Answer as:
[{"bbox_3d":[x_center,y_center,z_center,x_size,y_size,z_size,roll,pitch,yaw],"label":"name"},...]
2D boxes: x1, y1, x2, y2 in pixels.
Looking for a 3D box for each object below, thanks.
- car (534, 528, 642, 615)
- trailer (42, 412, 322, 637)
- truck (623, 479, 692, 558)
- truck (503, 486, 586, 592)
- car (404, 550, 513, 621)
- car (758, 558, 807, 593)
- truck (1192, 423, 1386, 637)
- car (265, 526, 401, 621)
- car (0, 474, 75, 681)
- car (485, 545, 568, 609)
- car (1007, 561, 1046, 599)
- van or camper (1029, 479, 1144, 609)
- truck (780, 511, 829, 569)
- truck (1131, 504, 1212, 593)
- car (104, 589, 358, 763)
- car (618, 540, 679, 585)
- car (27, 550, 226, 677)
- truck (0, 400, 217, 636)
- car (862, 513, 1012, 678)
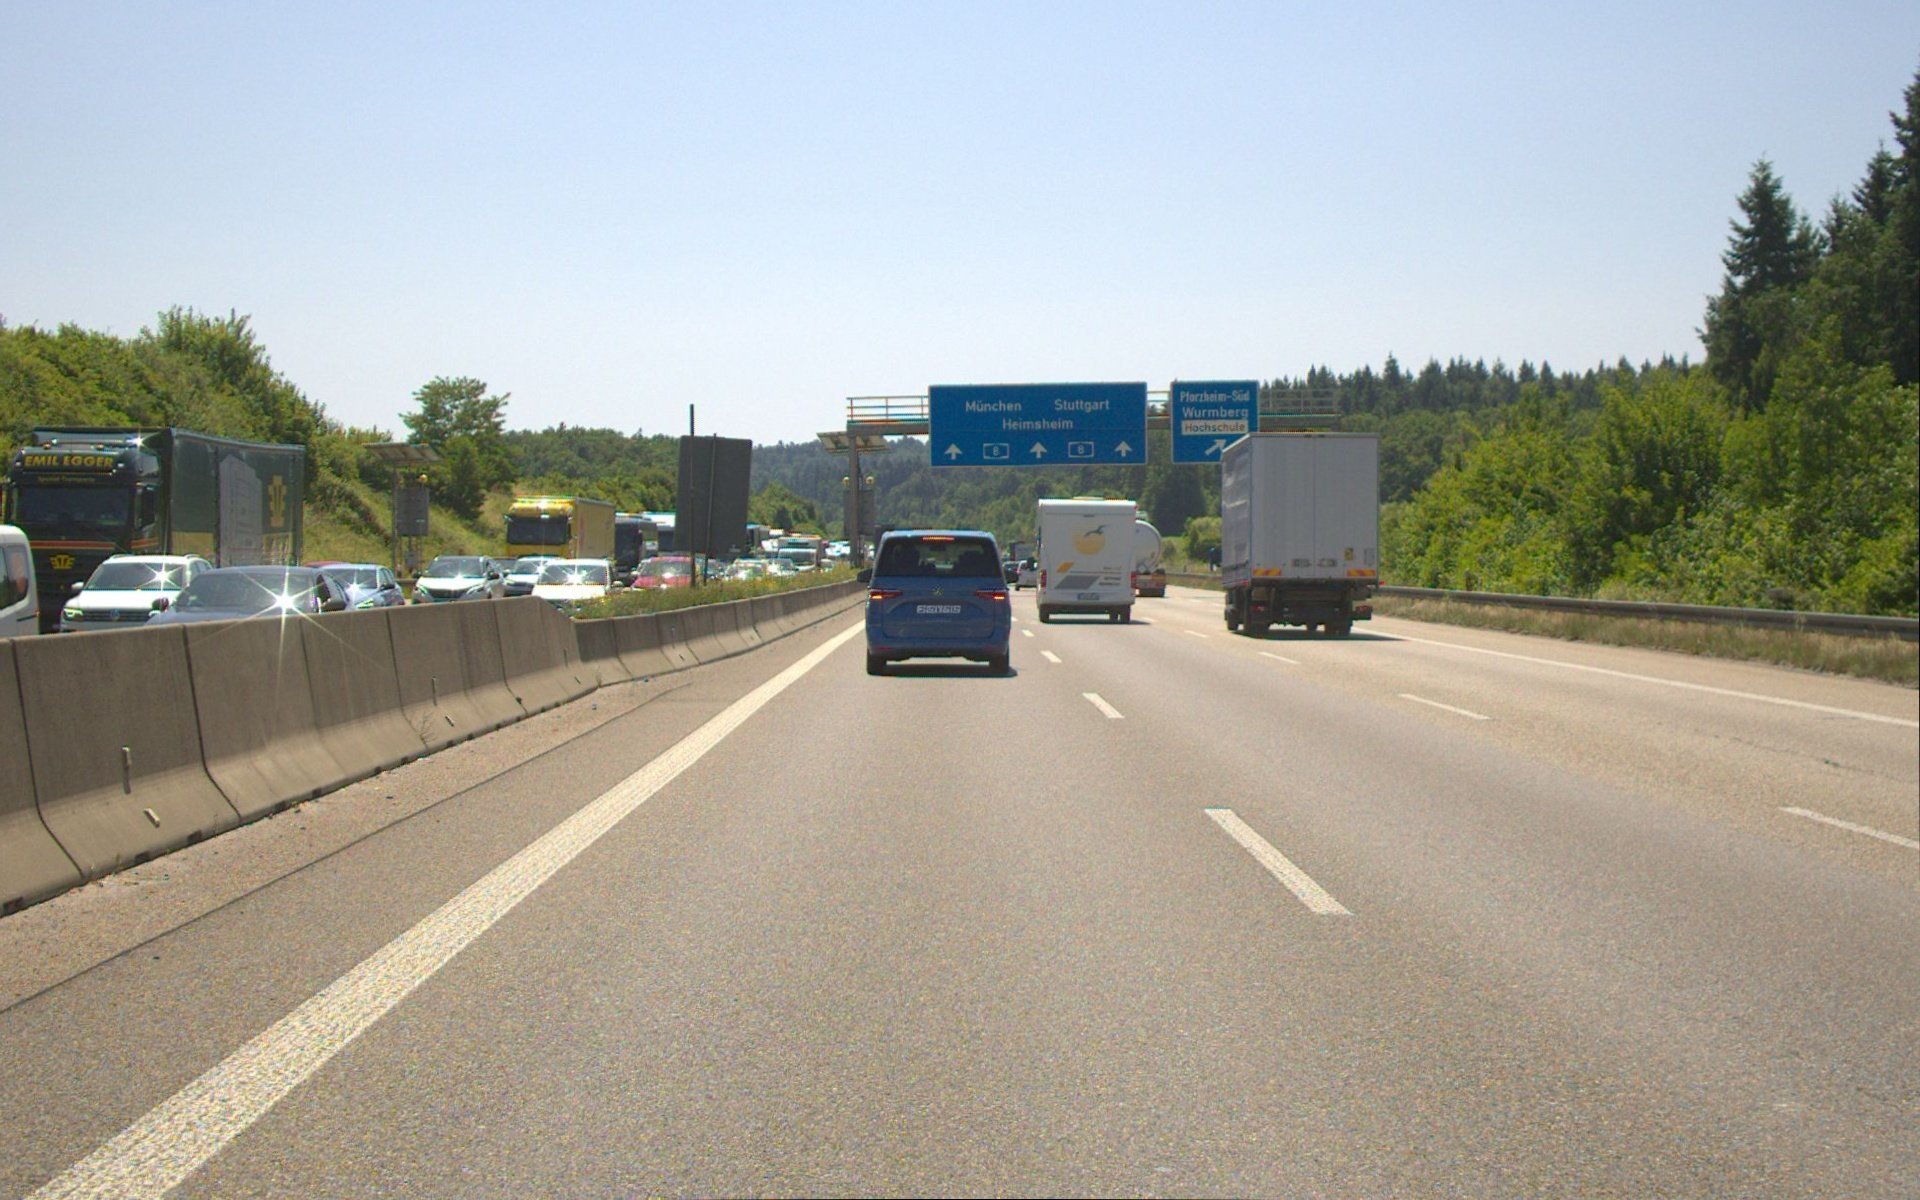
[{"bbox_3d":[-7.841,-0.598,72.777,1.827,1.758,4.991,1,0,-1],"label":"car"},{"bbox_3d":[-15.980,-1.464,71.794,2.842,4.247,12.786,1,0,0],"label":"trailer"},{"bbox_3d":[-16.262,-4.341,185.351,2.782,4.100,7.029,0,0,3],"label":"truck"},{"bbox_3d":[-16.314,-2.354,135.429,2.602,4.050,6.133,1,0,-1],"label":"truck"},{"bbox_3d":[-12.122,-0.346,83.314,1.811,1.623,5.219,1,0,1],"label":"car"},{"bbox_3d":[-7.721,-1.060,149.774,1.811,1.508,5.030,1,0,1],"label":"car"},{"bbox_3d":[6.712,-1.379,71.655,2.783,4.114,9.740,1,0,-2],"label":"truck"},{"bbox_3d":[-12.202,-0.517,67.144,1.827,1.758,4.991,1,0,-1],"label":"car"},{"bbox_3d":[-8.165,-0.183,25.788,1.827,1.559,5.111,1,0,-1],"label":"car"},{"bbox_3d":[-12.392,-0.646,98.539,1.827,1.758,4.991,1,0,-1],"label":"car"},{"bbox_3d":[3.230,-0.944,166.453,1.818,1.788,3.894,1,0,0],"label":"car"},{"bbox_3d":[3.110,-1.436,85.870,2.603,3.068,7.182,1,2,0],"label":"van or camper"},{"bbox_3d":[-7.921,-3.047,175.184,2.120,2.832,6.212,1,0,1],"label":"truck"},{"bbox_3d":[8.813,-2.202,143.953,2.928,3.563,8.526,-1,1,1],"label":"truck"},{"bbox_3d":[-7.956,0.774,37.968,1.827,1.758,4.991,1,0,-1],"label":"car"},{"bbox_3d":[-12.702,-1.516,140.514,1.862,1.746,5.901,1,0,1],"label":"car"},{"bbox_3d":[-12.263,0.184,50.892,1.827,1.758,4.991,1,0,-1],"label":"car"},{"bbox_3d":[-16.027,-1.482,64.537,2.819,4.189,5.629,1,0,1],"label":"truck"},{"bbox_3d":[-0.308,-0.104,46.035,1.909,2.006,4.001,0,3,0],"label":"car"}]
